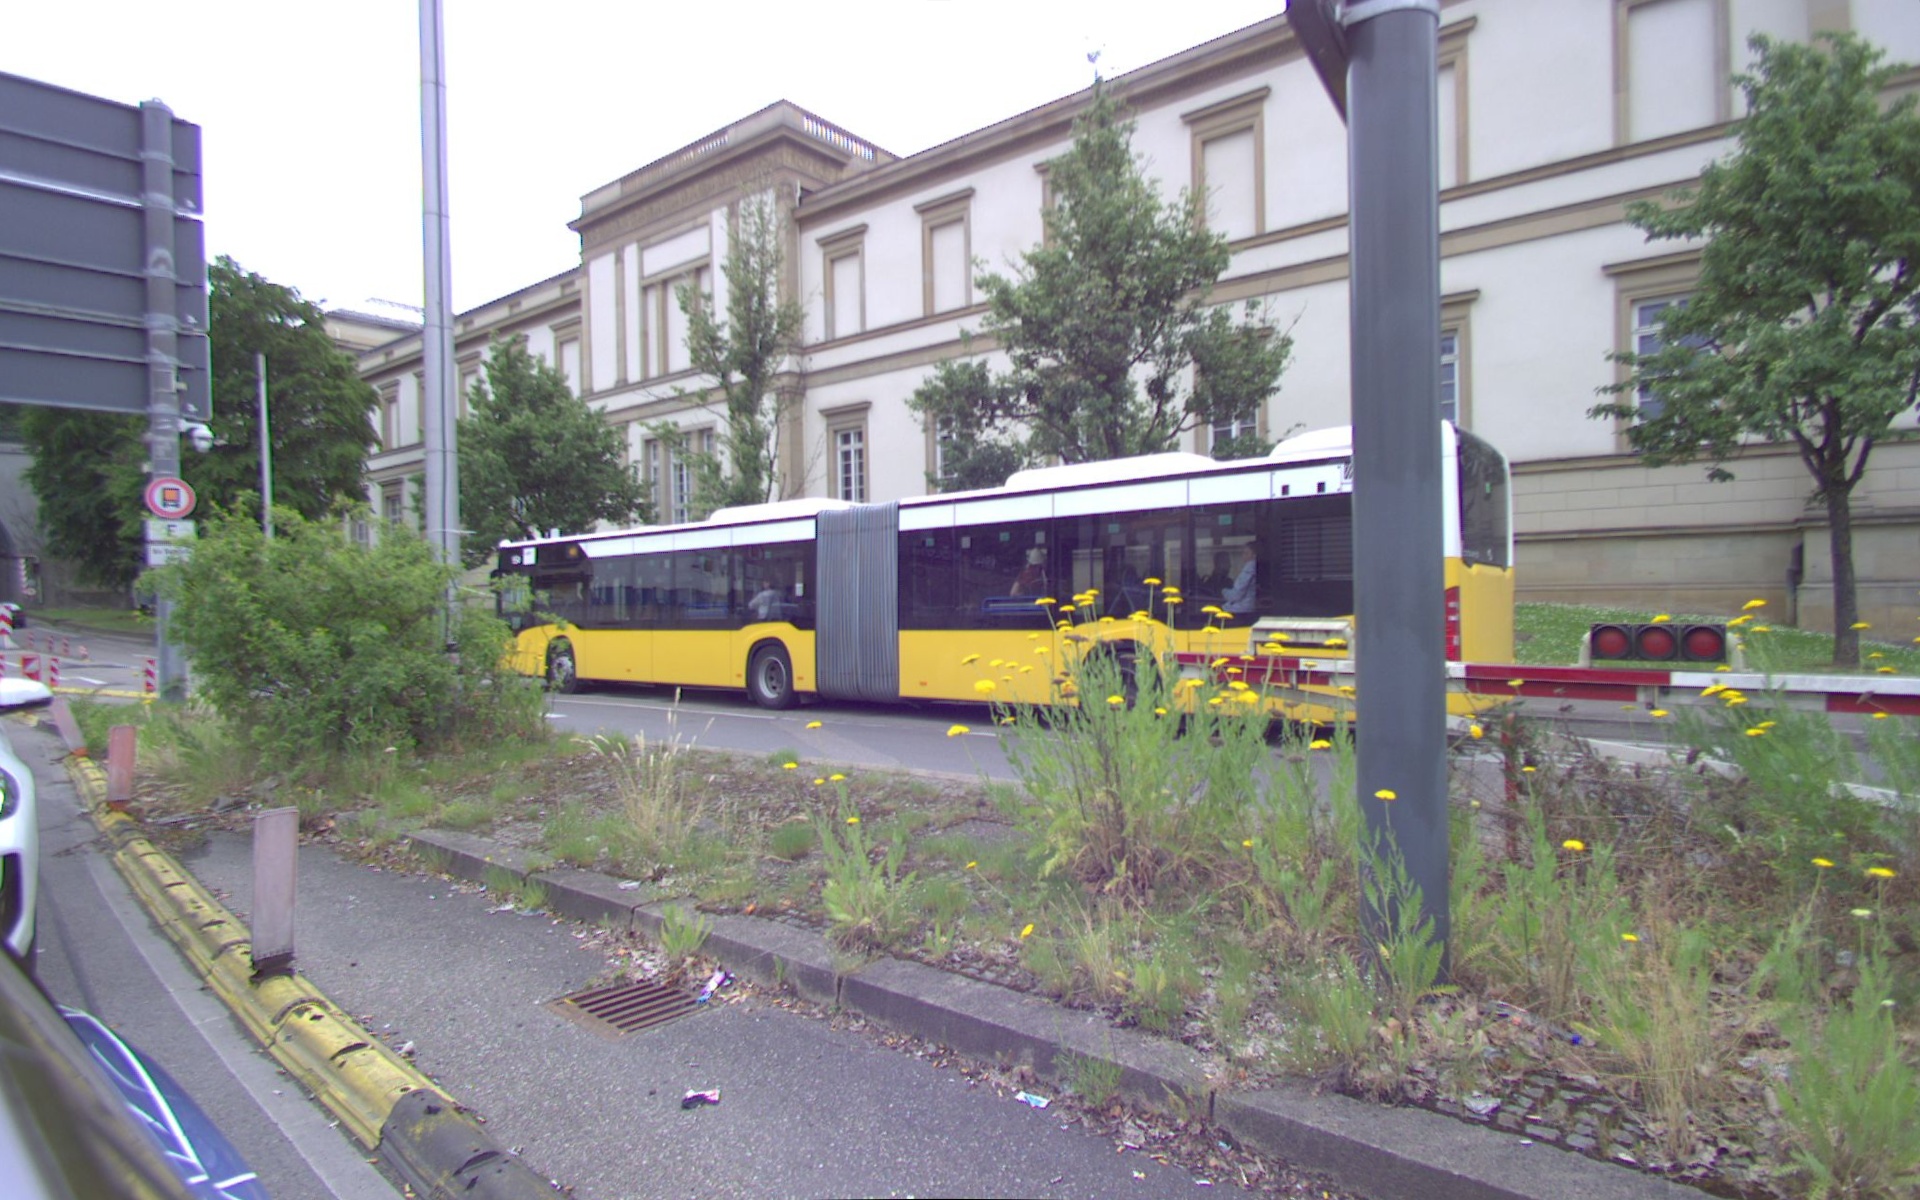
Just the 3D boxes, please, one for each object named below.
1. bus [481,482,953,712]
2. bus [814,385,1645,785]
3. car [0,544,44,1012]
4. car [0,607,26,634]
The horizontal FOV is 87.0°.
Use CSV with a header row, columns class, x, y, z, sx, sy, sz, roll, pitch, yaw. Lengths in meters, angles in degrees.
class,x,y,z,sx,sy,sz,roll,pitch,yaw
bus,-4.784,0.028,18.019,9.738,3.137,2.818,-1,0,39
bus,2.440,-0.056,11.960,9.113,3.137,2.817,-1,0,40
car,-5.266,0.663,4.173,3.881,1.603,1.824,-2,0,42
car,-55.588,1.212,58.508,4.625,1.482,1.684,-1,0,40
